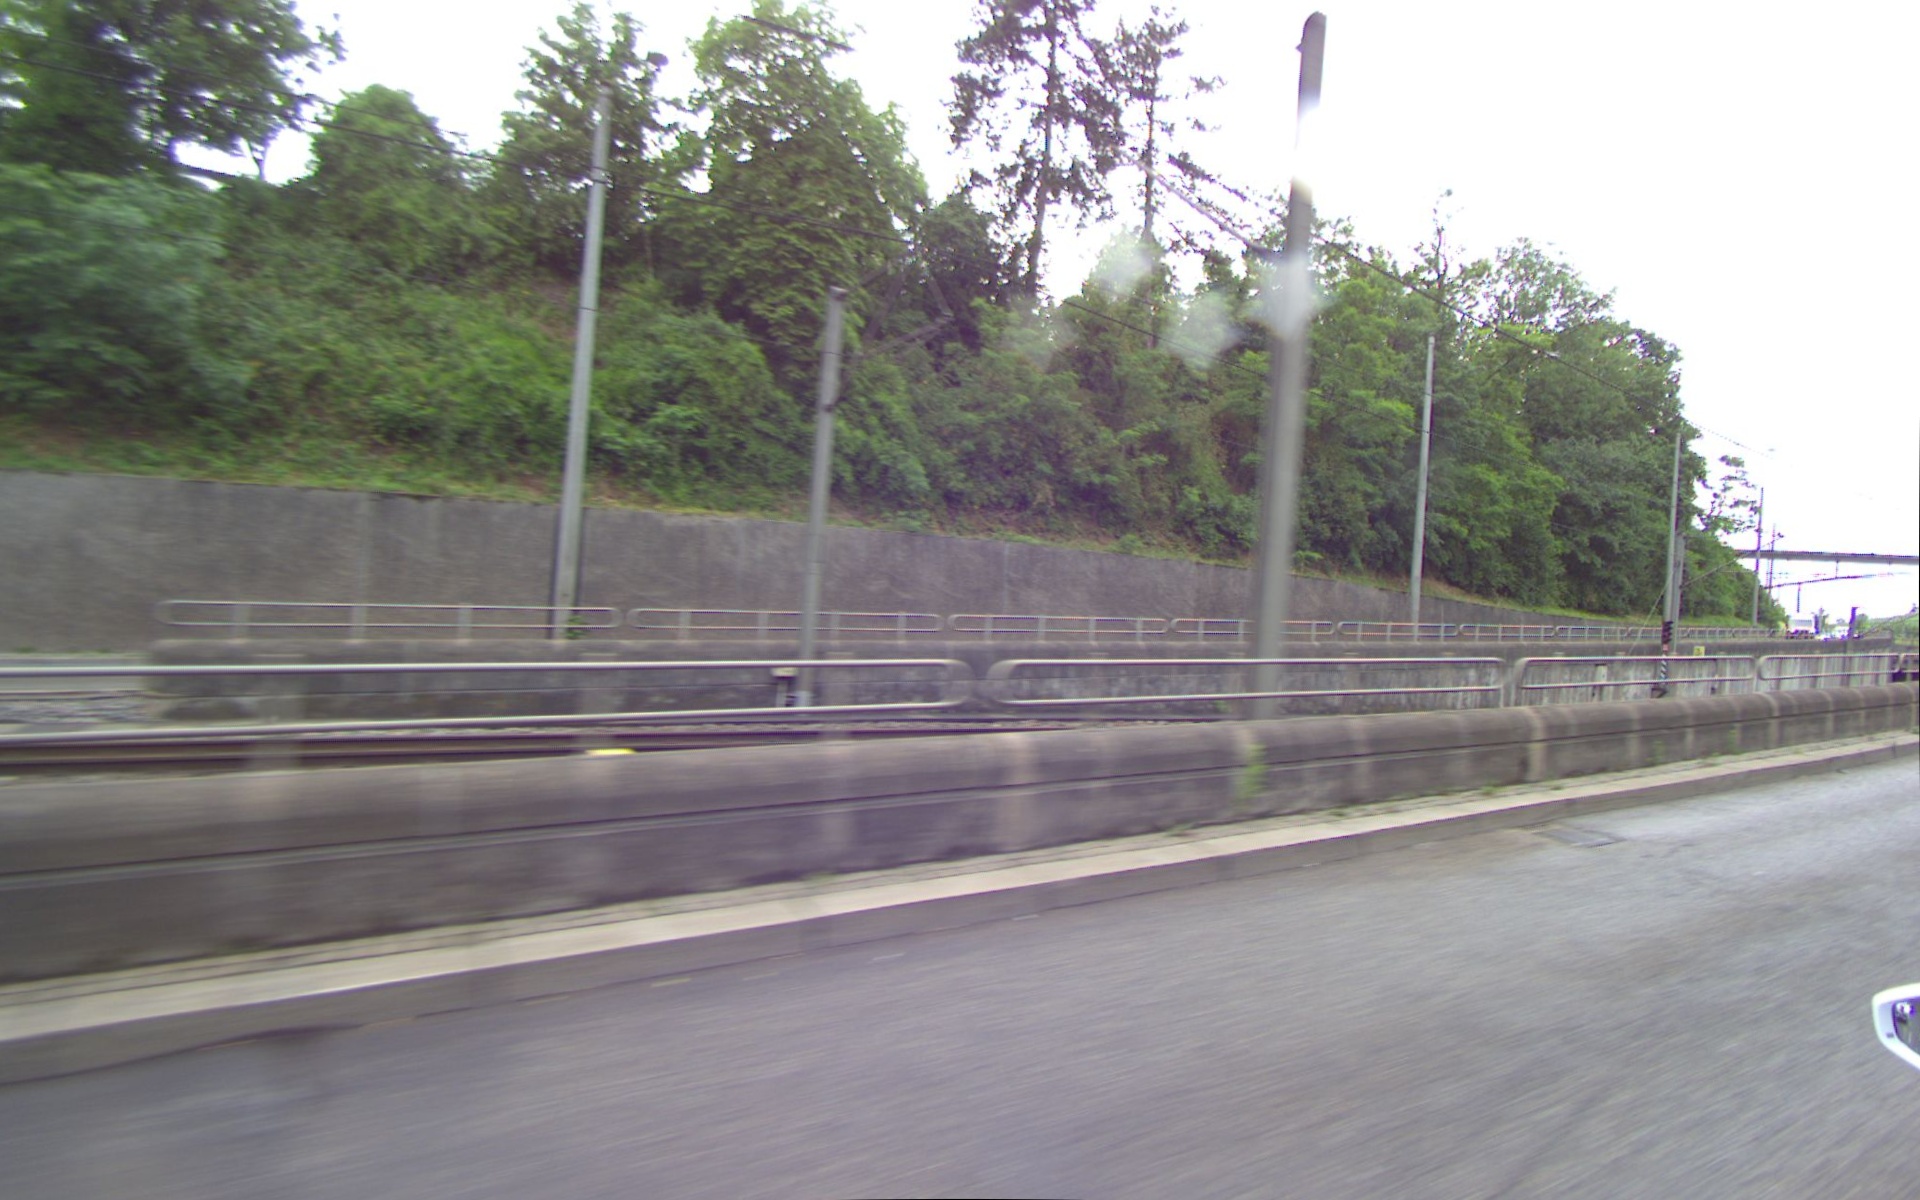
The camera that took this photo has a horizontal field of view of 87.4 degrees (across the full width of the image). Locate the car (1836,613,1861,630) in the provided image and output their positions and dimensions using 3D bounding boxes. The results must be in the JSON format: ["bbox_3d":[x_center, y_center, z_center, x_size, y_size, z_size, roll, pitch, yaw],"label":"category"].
[{"bbox_3d":[96.017,2.317,108.536,1.940,1.773,4.117,1,-1,43],"label":"car"}]

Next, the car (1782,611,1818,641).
[{"bbox_3d":[82.072,2.574,98.111,2.160,2.771,6.305,1,-1,45],"label":"car"}]

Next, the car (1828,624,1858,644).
[{"bbox_3d":[80.586,3.082,91.649,4.085,1.726,1.799,2,-1,-45],"label":"car"}]
